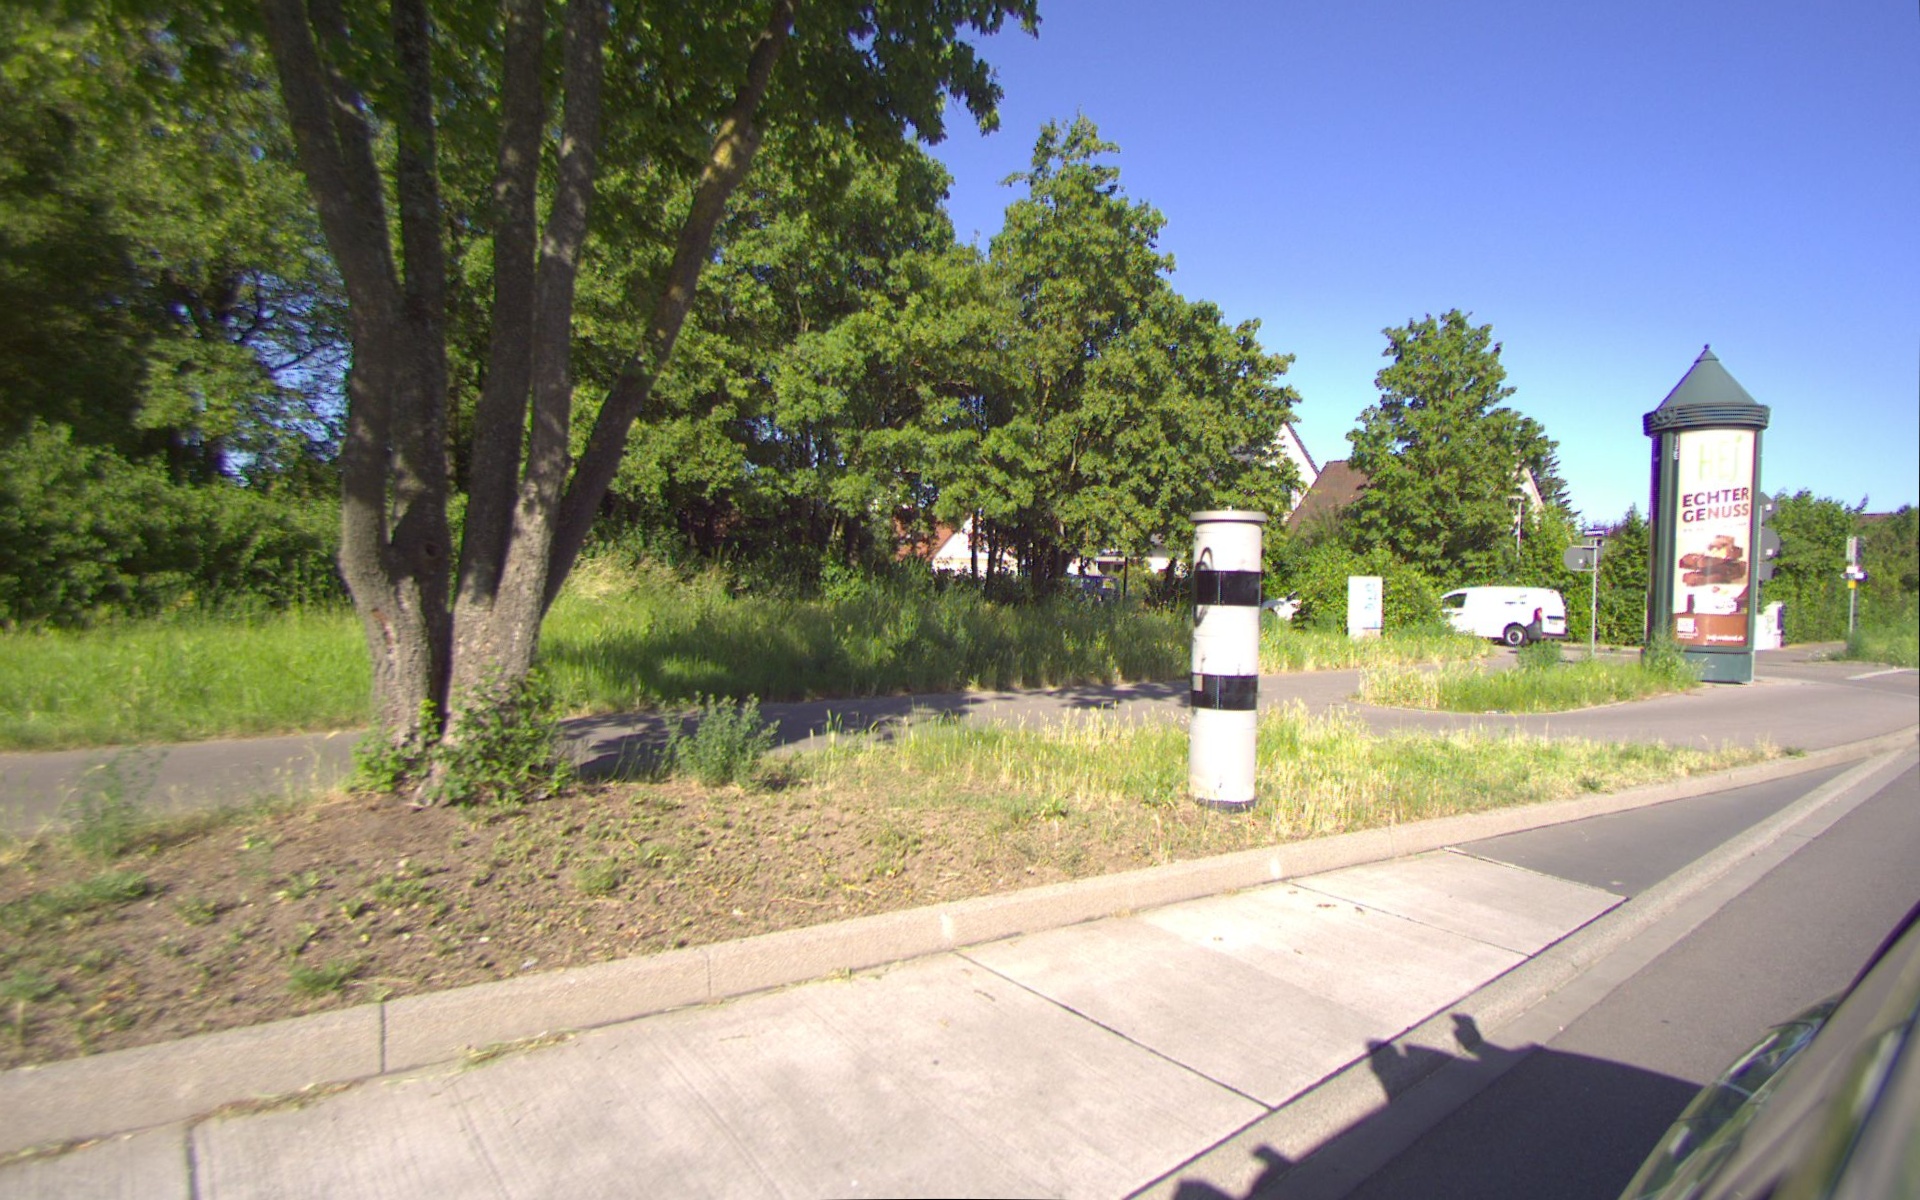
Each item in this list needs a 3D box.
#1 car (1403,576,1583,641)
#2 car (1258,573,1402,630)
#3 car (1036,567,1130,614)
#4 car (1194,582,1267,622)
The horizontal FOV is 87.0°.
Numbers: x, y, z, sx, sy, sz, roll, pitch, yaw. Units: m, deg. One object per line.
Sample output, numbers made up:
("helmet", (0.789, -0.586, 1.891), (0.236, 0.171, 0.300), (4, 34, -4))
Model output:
("car", (16.683, 0.228, 31.889), (1.895, 1.824, 4.647), (3, 0, -35))
("car", (13.289, 0.020, 36.579), (2.031, 1.892, 4.533), (3, 0, -35))
("car", (5.762, -0.478, 47.994), (1.948, 2.071, 4.394), (3, 0, -35))
("car", (10.859, 0.068, 40.675), (1.511, 1.508, 2.354), (3, 0, -35))
